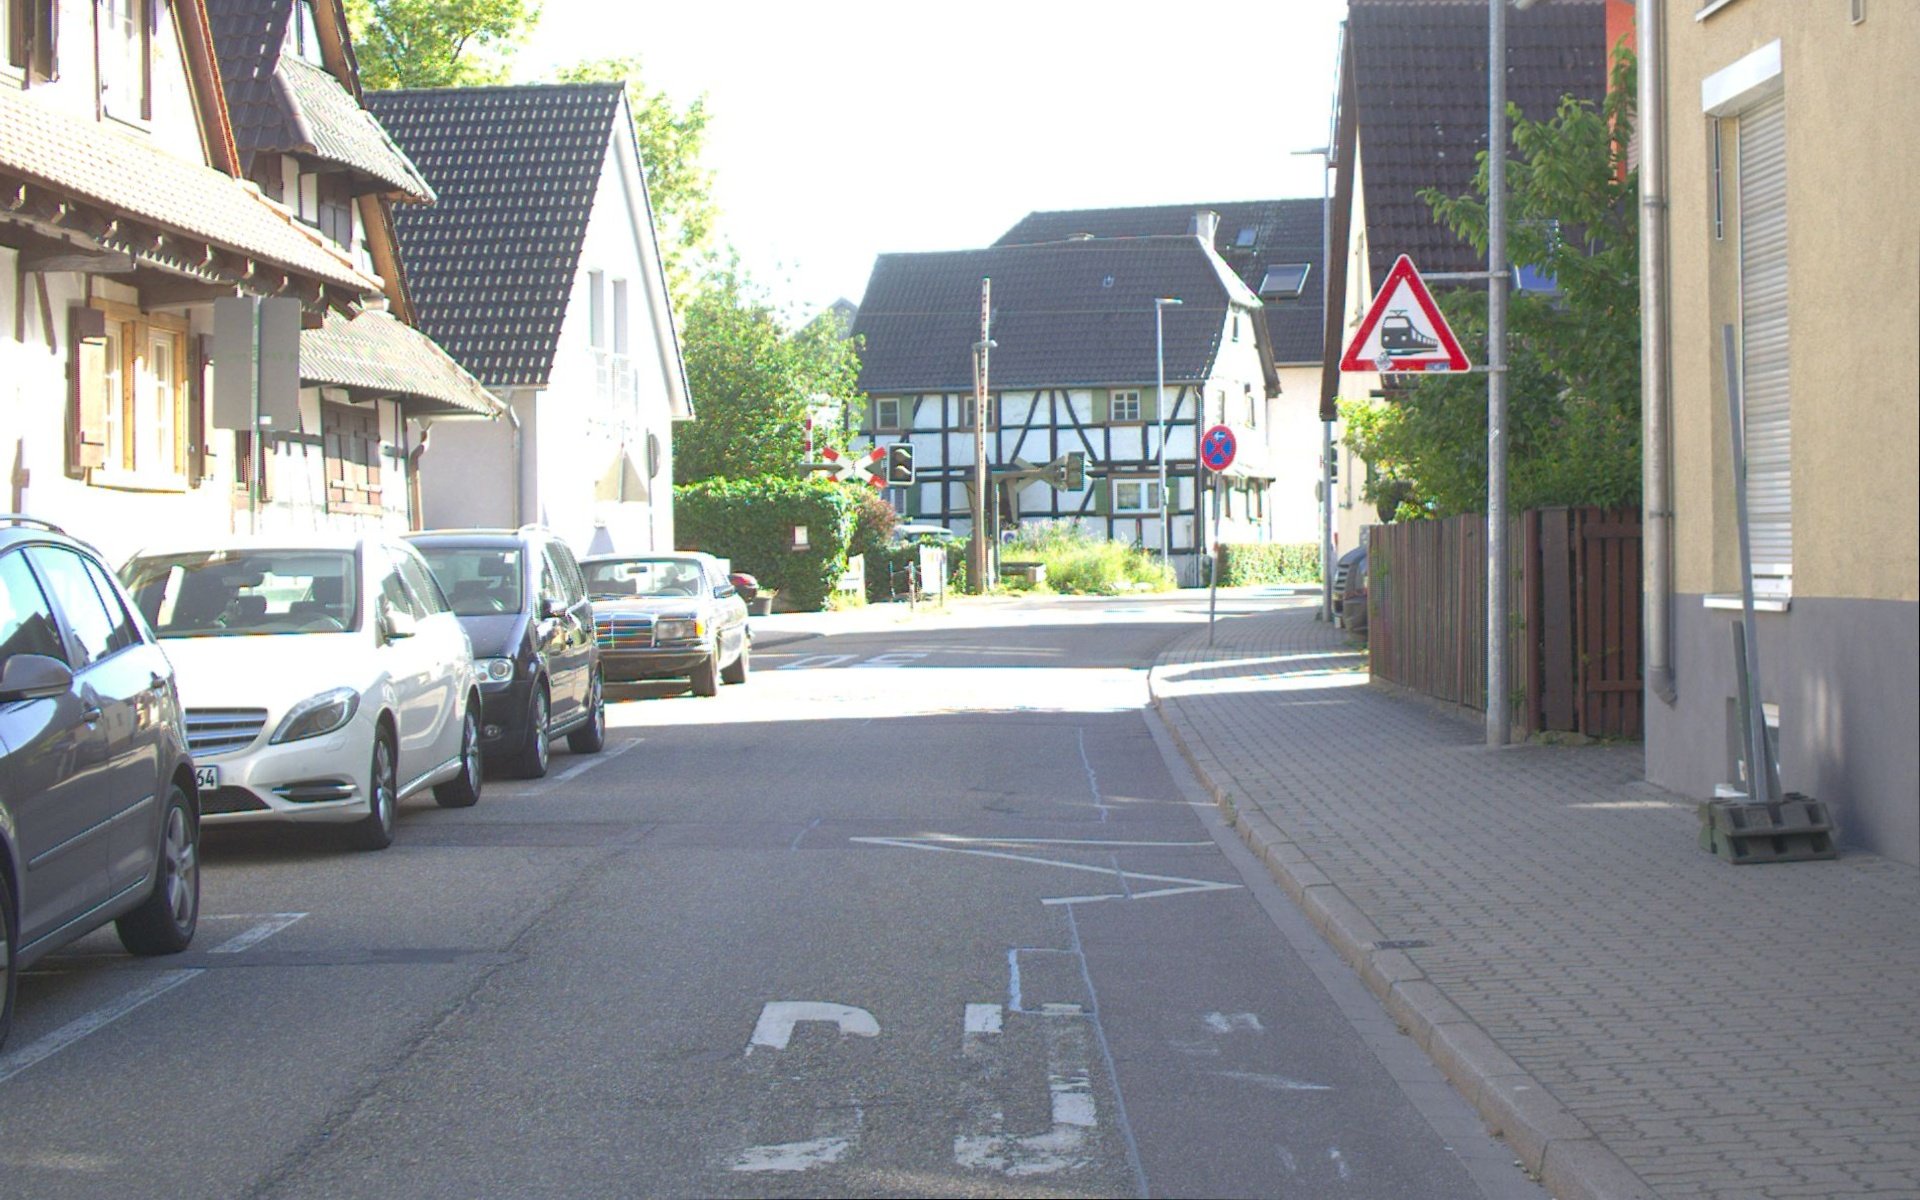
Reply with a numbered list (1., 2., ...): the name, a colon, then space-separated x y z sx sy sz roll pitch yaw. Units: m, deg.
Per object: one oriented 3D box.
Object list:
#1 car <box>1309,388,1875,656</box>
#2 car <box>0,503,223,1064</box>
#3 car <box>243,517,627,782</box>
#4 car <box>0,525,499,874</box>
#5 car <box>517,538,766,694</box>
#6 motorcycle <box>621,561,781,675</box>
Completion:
1. car: 6.964 -0.851 38.302 5.803 2.646 1.968 -3 0 -2
2. car: -3.645 0.529 10.969 1.742 1.608 4.000 -1 1 -1
3. car: -3.452 0.273 23.394 1.784 1.599 4.361 -1 1 2
4. car: -3.644 0.436 17.735 1.816 1.561 4.168 -1 1 2
5. car: -3.142 0.124 34.865 1.844 1.401 5.036 -2 1 2
6. motorcycle: -2.903 0.194 38.399 0.625 1.227 1.993 -3 2 -44
